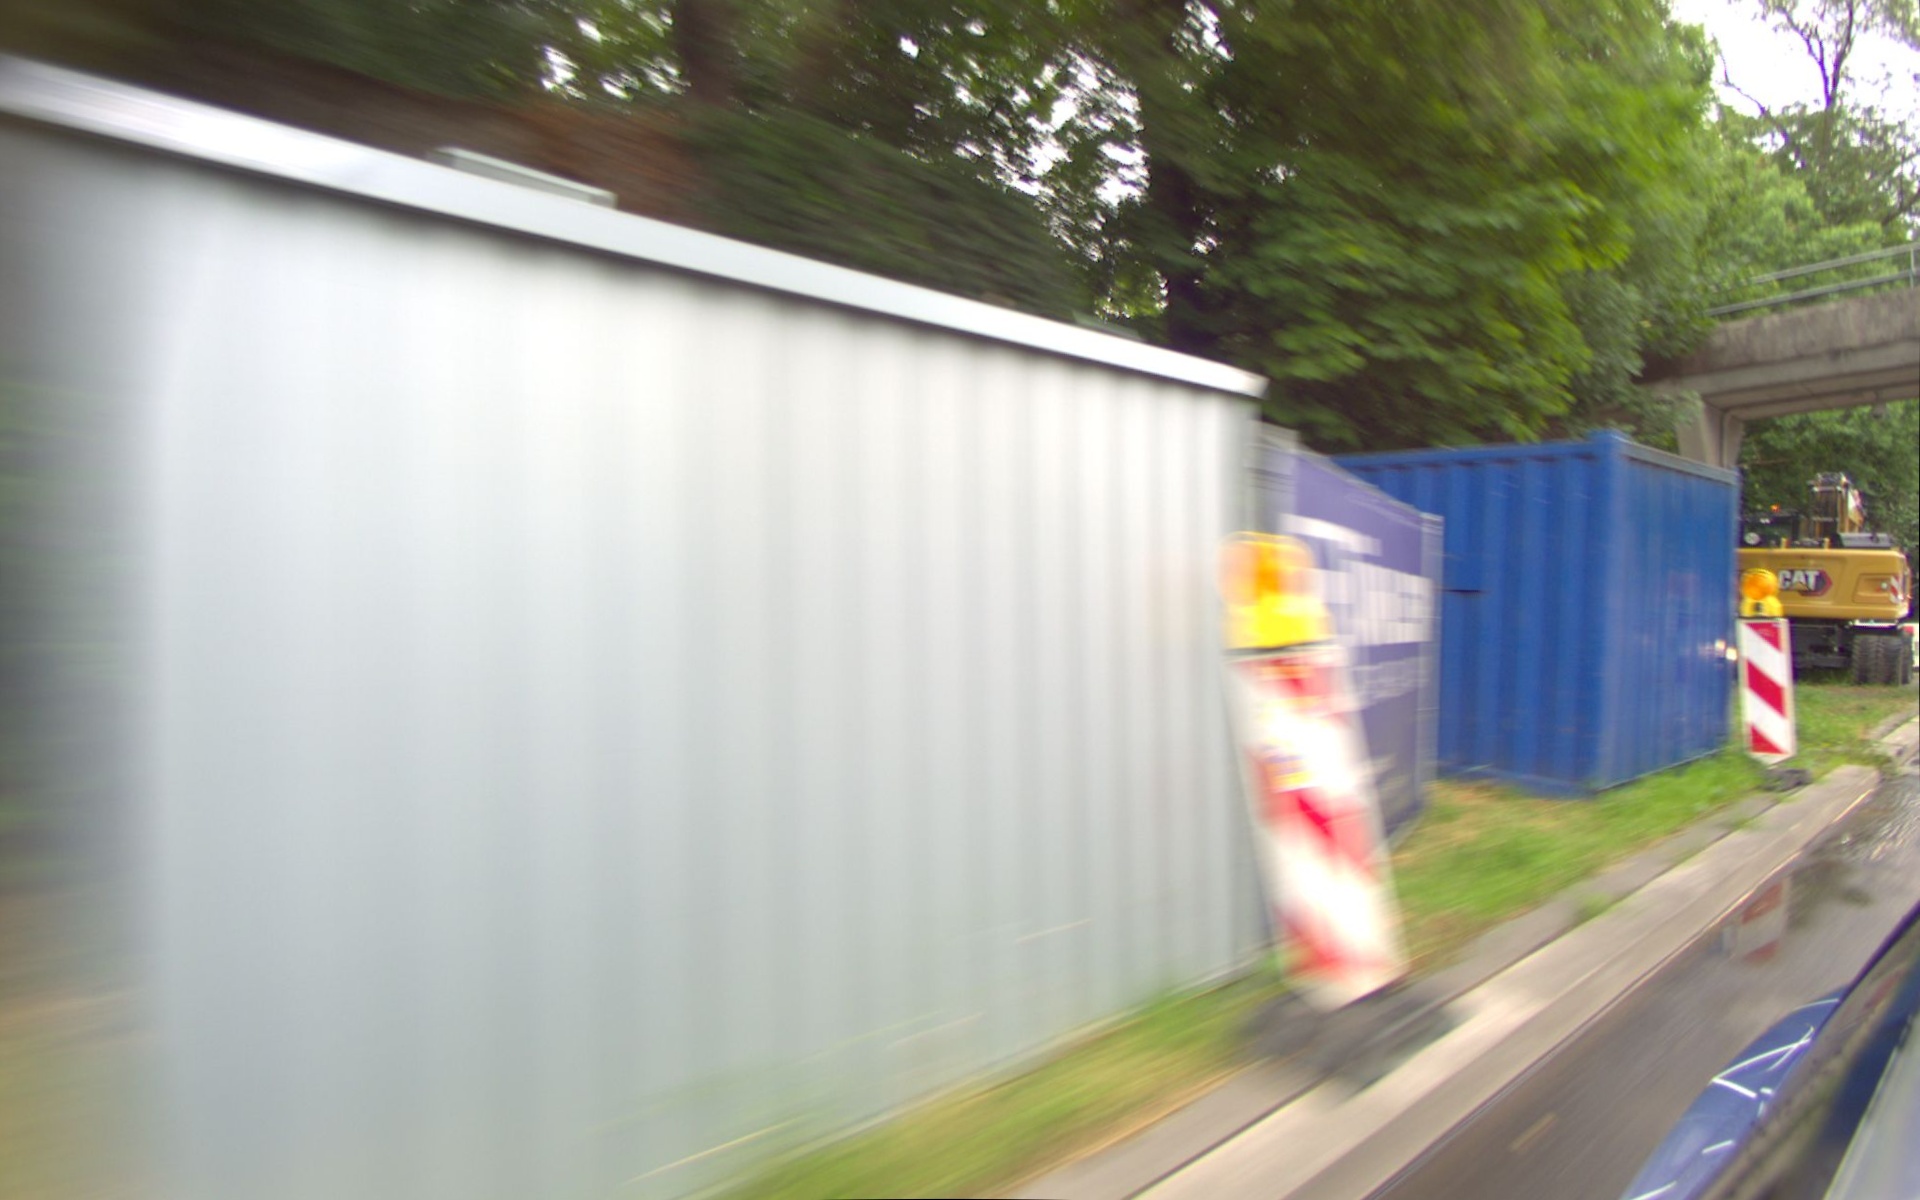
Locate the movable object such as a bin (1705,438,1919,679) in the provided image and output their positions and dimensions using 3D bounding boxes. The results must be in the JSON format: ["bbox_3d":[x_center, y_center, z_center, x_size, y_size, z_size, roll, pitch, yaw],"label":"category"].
[{"bbox_3d":[17.093,-0.713,19.852,6.002,3.990,2.885,-1,0,-43],"label":"movable object such as a bin"}]
